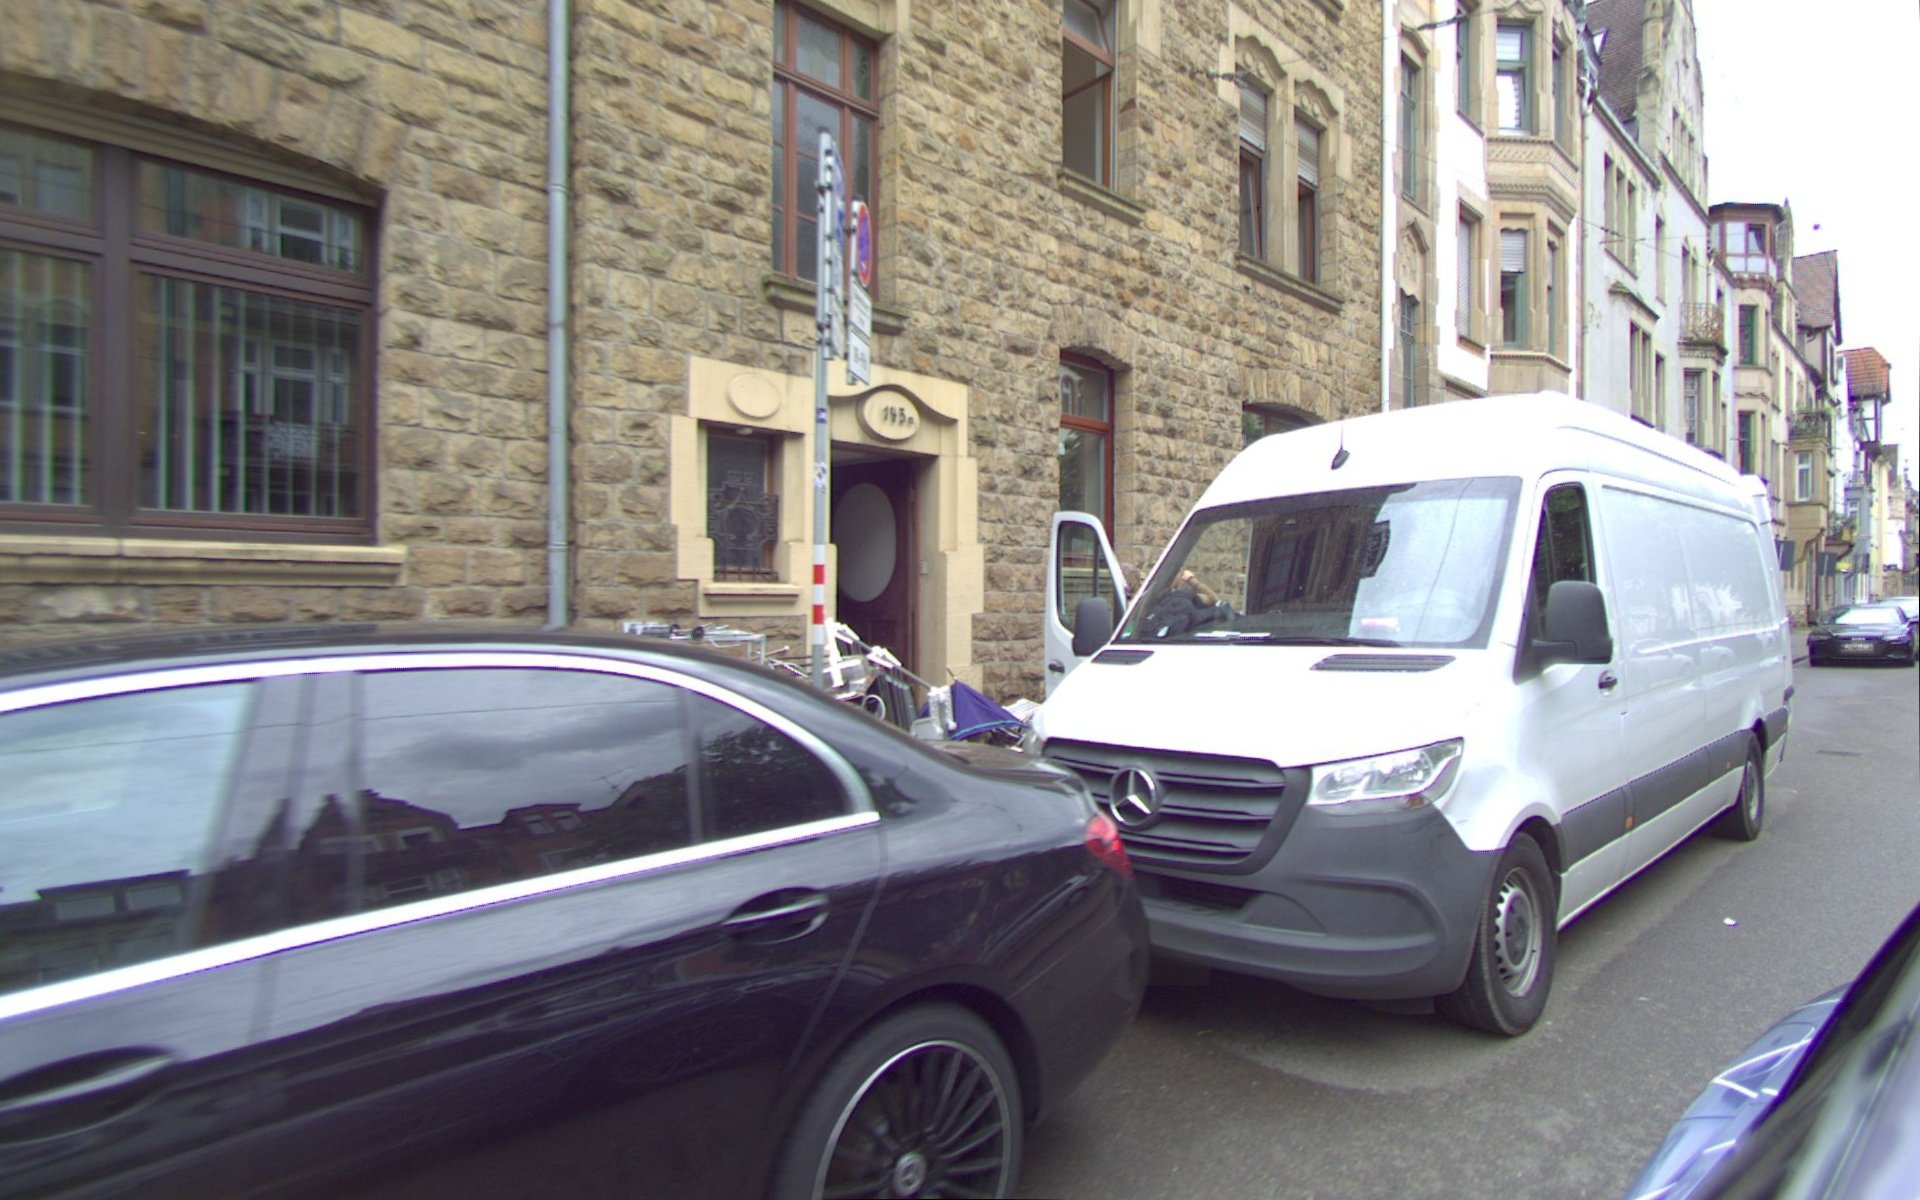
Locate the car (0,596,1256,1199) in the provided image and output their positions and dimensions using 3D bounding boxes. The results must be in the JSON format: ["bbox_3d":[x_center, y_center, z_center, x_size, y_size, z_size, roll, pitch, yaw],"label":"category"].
[{"bbox_3d":[-1.614,0.749,1.765,4.922,1.468,1.826,0,-1,-43],"label":"car"}]

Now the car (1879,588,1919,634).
[{"bbox_3d":[35.636,0.399,37.814,1.759,1.643,4.619,0,0,44],"label":"car"}]

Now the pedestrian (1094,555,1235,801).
[{"bbox_3d":[1.537,0.540,7.601,0.859,1.721,0.531,3,2,33],"label":"pedestrian"}]

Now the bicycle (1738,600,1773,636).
[{"bbox_3d":[25.886,0.583,32.928,1.885,1.141,0.611,0,-3,-45],"label":"bicycle"}]

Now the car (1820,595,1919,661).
[{"bbox_3d":[22.296,0.614,24.487,5.110,1.456,1.802,0,0,-45],"label":"car"}]

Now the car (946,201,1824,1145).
[{"bbox_3d":[3.155,0.197,5.882,6.898,2.581,2.015,0,-2,-43],"label":"car"}]

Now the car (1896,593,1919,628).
[{"bbox_3d":[43.877,0.436,46.069,1.697,1.533,4.349,-4,-3,44],"label":"car"}]
